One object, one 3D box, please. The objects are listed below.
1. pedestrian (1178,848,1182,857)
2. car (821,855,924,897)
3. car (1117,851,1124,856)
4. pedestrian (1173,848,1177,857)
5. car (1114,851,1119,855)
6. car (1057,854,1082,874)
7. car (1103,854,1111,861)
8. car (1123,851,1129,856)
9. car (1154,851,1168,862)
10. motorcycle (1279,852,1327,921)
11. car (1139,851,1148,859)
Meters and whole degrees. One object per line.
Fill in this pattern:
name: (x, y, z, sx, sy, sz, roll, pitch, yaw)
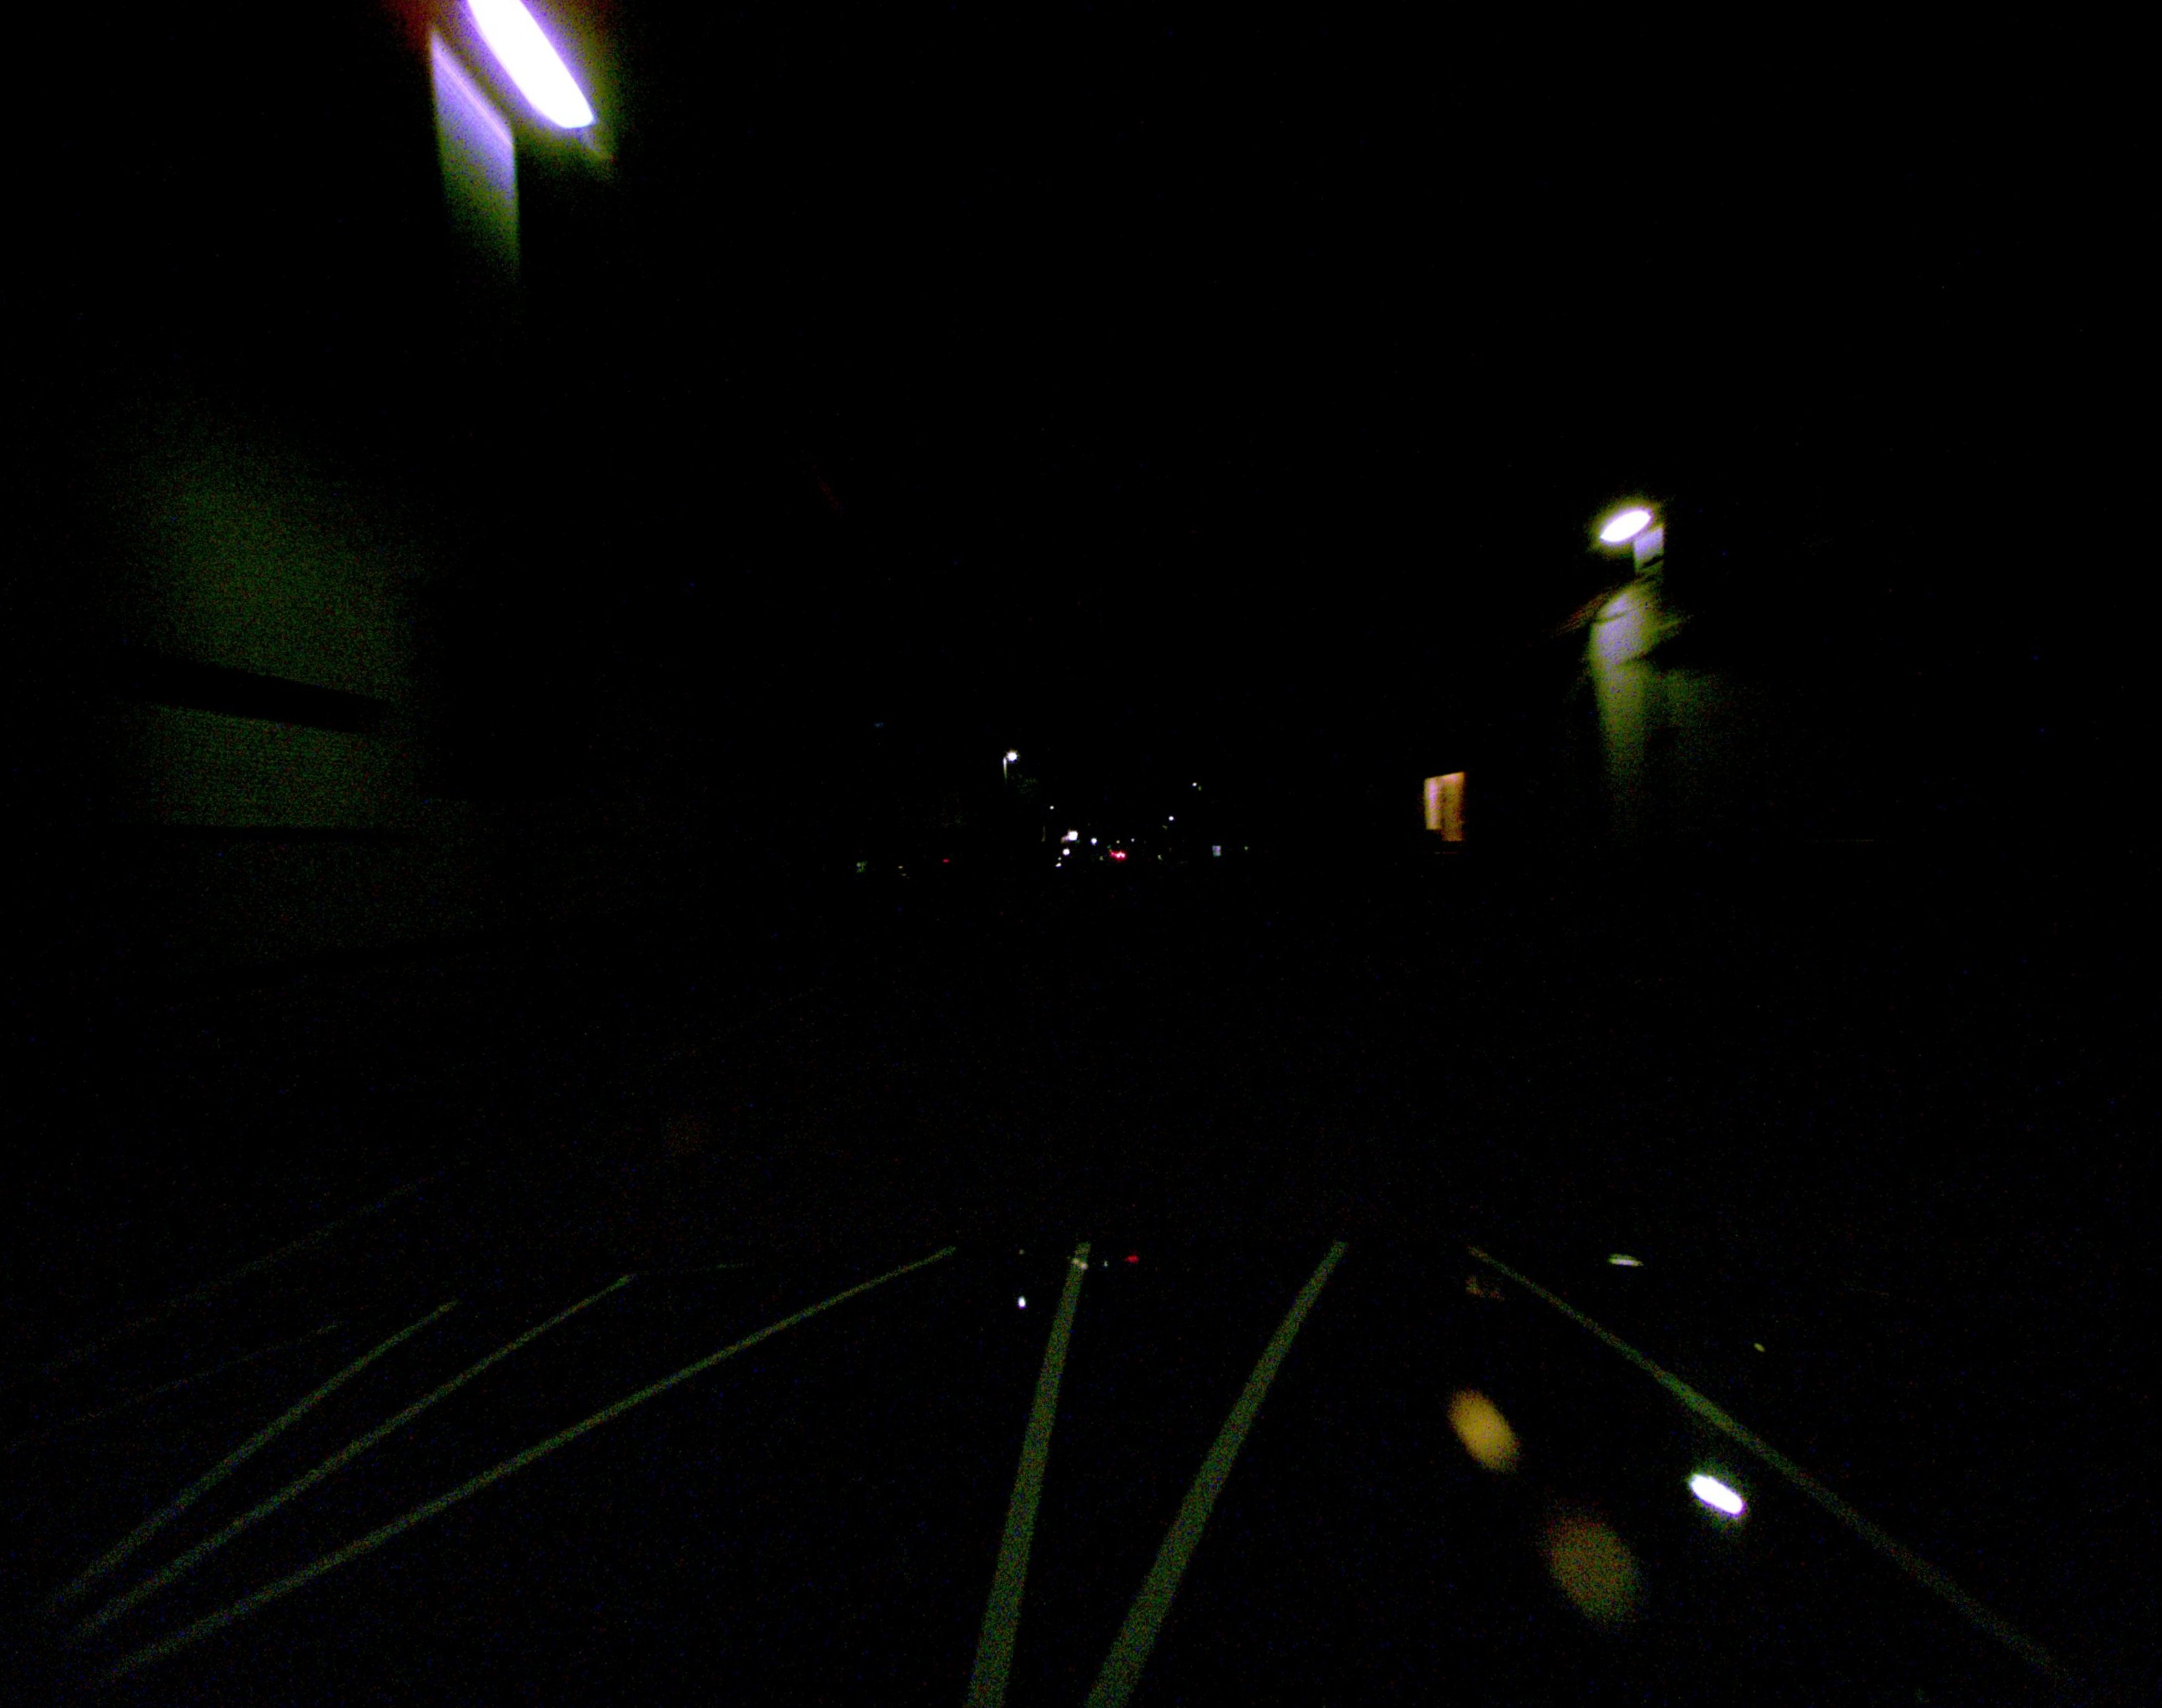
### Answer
pedestrian: (17.181, -0.262, 132.404, 0.529, 1.579, 0.665, -2, 1, -6)
car: (-8.092, 0.837, 29.725, 3.514, 1.516, 1.820, 1, 1, 0)
car: (11.871, -0.123, 229.378, 1.752, 1.635, 4.307, -1, 0, 1)
pedestrian: (16.407, -0.213, 132.607, 0.529, 1.579, 0.665, -2, 1, -4)
car: (11.718, -0.287, 249.992, 1.821, 1.271, 3.917, -2, 0, 3)
car: (-0.915, 0.818, 62.349, 1.747, 1.560, 4.209, -1, 0, 2)
car: (5.534, 0.658, 163.984, 1.606, 1.474, 3.699, -1, 0, 1)
car: (12.615, -0.247, 213.857, 1.720, 1.420, 3.816, -2, 0, 4)
car: (12.079, 0.367, 115.187, 1.900, 1.411, 4.932, -3, 0, 4)
motorcycle: (5.064, 0.701, 17.440, 0.747, 1.444, 2.197, -2, 0, 9)
car: (13.992, 0.299, 169.238, 1.814, 1.637, 3.804, -3, 0, 3)
